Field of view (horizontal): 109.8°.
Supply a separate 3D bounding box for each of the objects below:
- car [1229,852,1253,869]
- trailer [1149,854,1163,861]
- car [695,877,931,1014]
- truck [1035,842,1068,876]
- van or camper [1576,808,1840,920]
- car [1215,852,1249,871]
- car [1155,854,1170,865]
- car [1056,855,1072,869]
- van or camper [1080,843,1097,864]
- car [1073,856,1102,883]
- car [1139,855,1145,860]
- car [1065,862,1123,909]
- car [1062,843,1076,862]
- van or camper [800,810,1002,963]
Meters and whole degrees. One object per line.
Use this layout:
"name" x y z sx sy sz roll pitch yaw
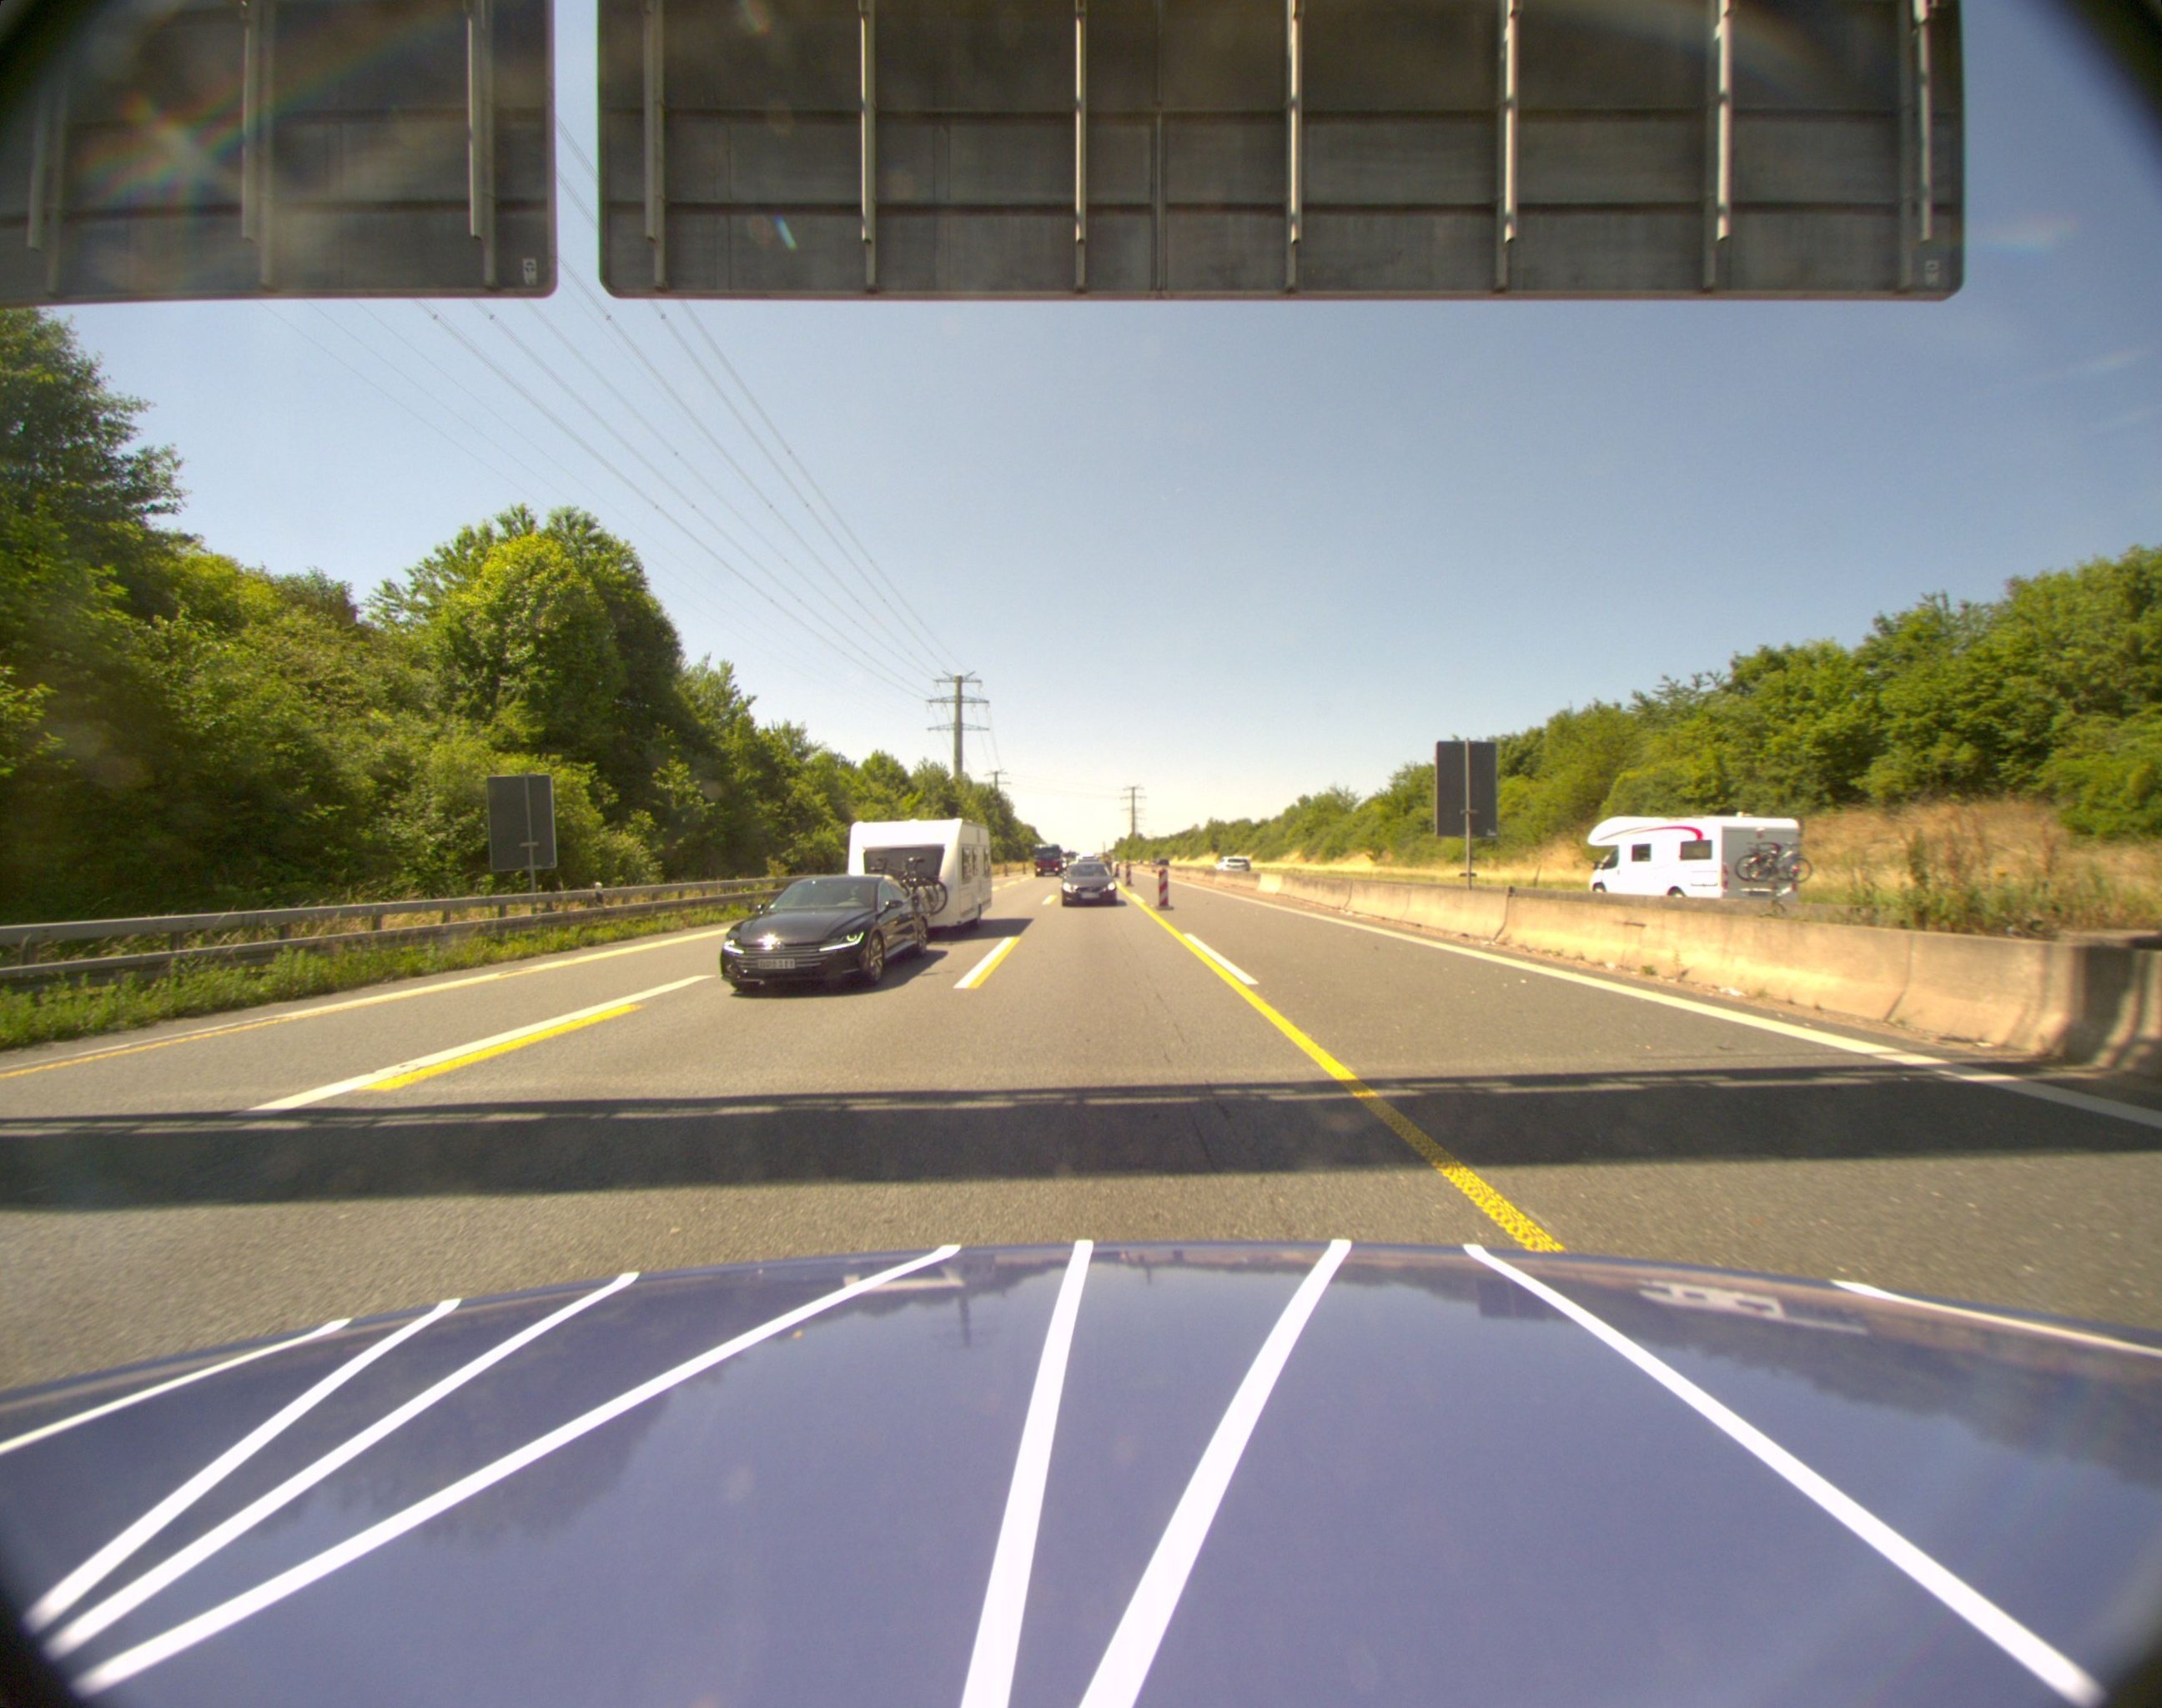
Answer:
"car" 20.140 0.827 95.983 1.935 2.001 5.597 0 -1 0
"trailer" 15.792 0.746 160.050 2.362 1.336 7.216 0 0 0
"car" -3.497 1.116 10.833 1.800 1.399 4.210 -2 0 1
"truck" -2.845 0.481 75.154 2.431 3.122 7.649 -3 0 2
"van or camper" 20.048 0.276 25.102 2.441 3.128 7.626 0 0 0
"car" 12.344 0.618 62.235 1.915 1.447 4.356 -2 0 0
"car" 12.409 0.826 115.826 1.877 1.684 4.498 0 0 1
"car" -2.267 1.058 101.707 1.850 1.810 3.926 -2 0 1
"van or camper" 1.006 -0.021 96.875 1.998 2.604 5.630 0 0 2
"car" 0.447 0.965 49.837 1.675 1.619 4.691 -3 0 2
"car" 18.525 1.159 232.288 1.503 1.539 4.000 0 0 0
"car" 0.433 1.013 26.044 1.798 1.432 4.000 -2 0 1
"car" -2.443 -0.313 155.672 2.397 3.779 10.274 -2 0 1
"van or camper" -3.508 0.567 17.190 2.432 2.549 8.417 -2 0 1
